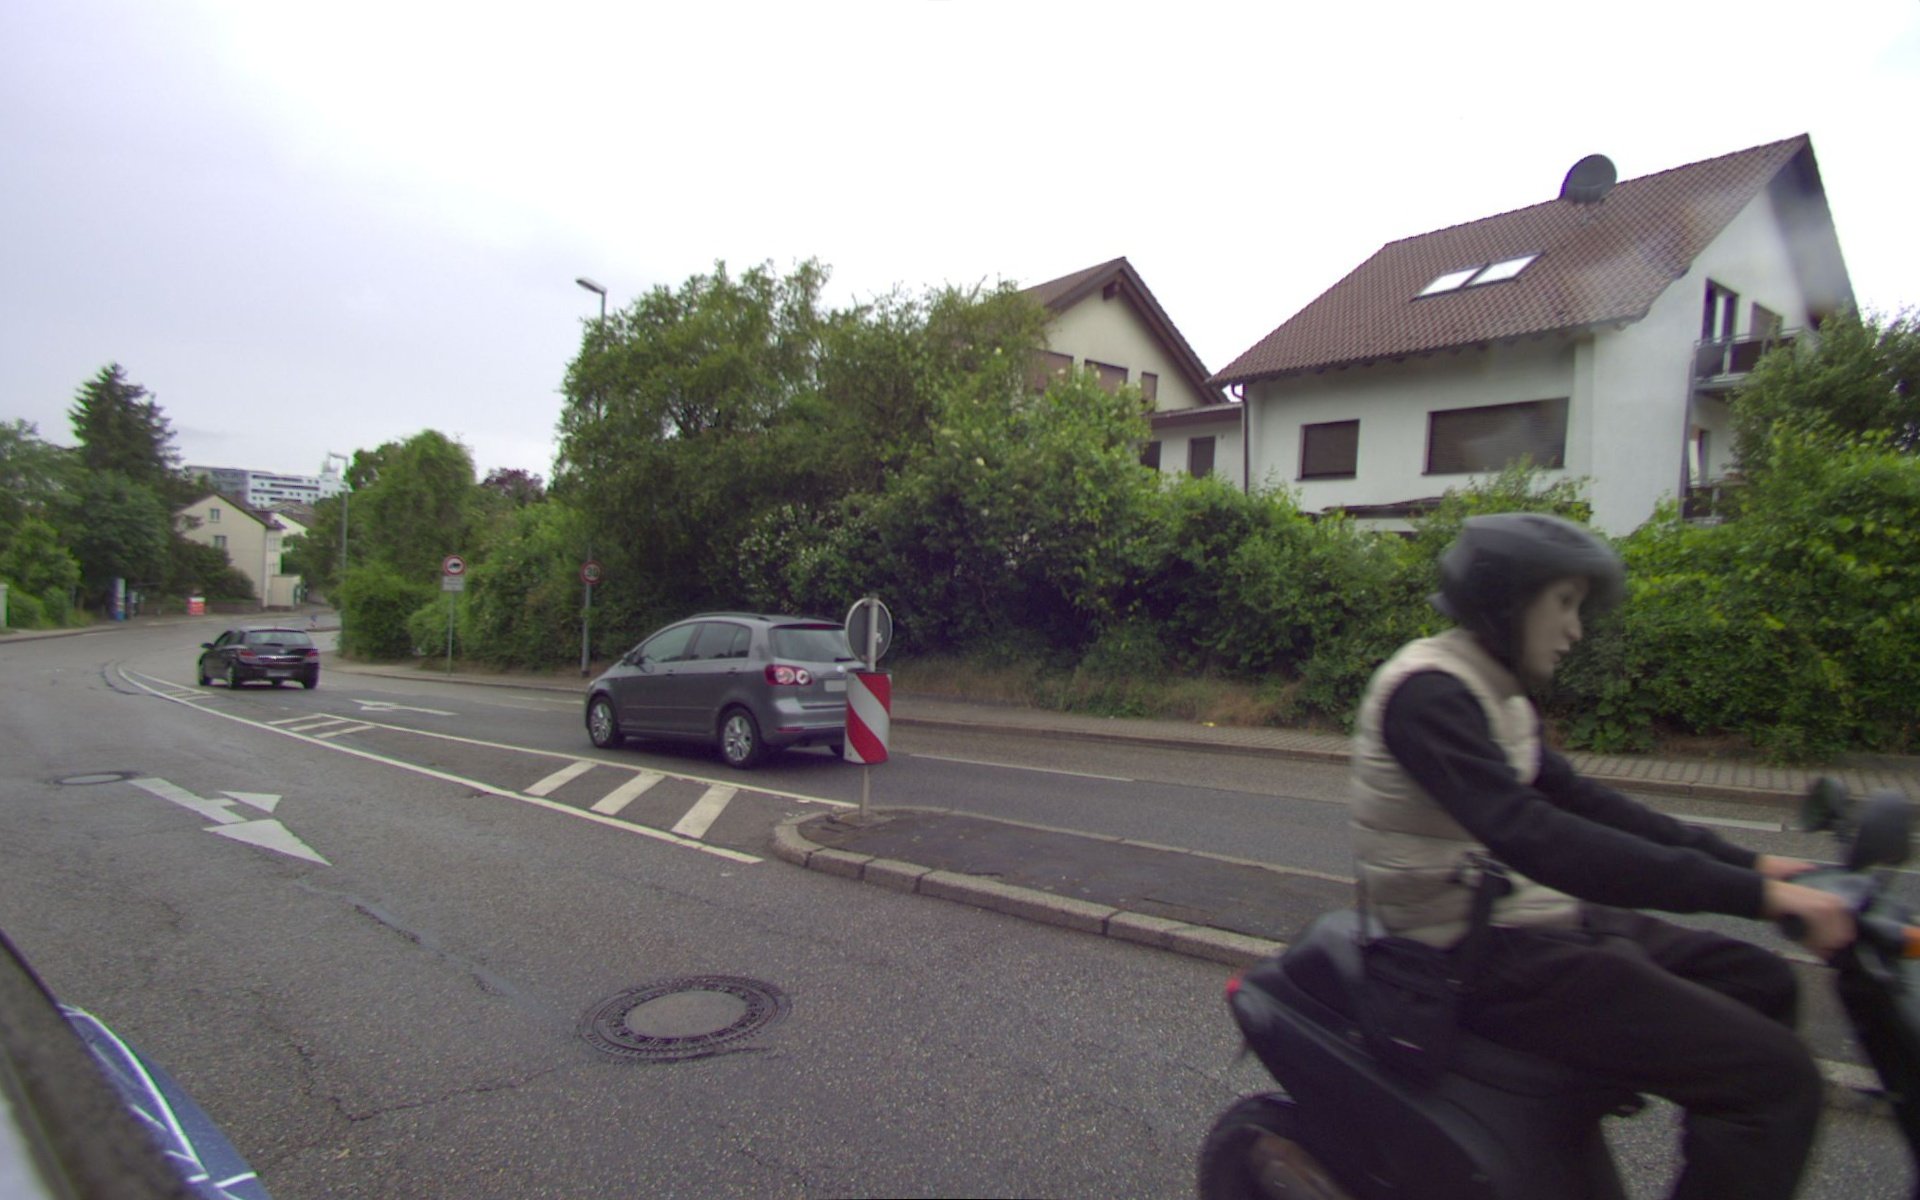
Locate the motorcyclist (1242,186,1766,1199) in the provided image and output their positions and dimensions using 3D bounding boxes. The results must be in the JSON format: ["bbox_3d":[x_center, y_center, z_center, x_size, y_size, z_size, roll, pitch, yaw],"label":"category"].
[{"bbox_3d":[0.991,0.302,1.801,0.674,1.655,0.757,0,-2,40],"label":"motorcyclist"}]

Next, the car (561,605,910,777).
[{"bbox_3d":[-2.643,0.924,11.498,4.027,1.614,1.725,-1,-3,39],"label":"car"}]

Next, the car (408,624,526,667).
[{"bbox_3d":[-19.496,1.761,40.103,3.853,1.451,1.814,-3,1,-41],"label":"car"}]

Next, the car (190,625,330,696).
[{"bbox_3d":[-16.473,1.372,23.751,4.001,1.521,1.874,-1,-3,44],"label":"car"}]

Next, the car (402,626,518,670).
[{"bbox_3d":[-20.977,1.968,42.547,3.939,1.548,2.003,-3,1,-42],"label":"car"}]

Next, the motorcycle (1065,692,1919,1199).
[{"bbox_3d":[1.098,0.760,1.679,1.746,1.061,0.683,1,-1,41],"label":"motorcycle"}]
